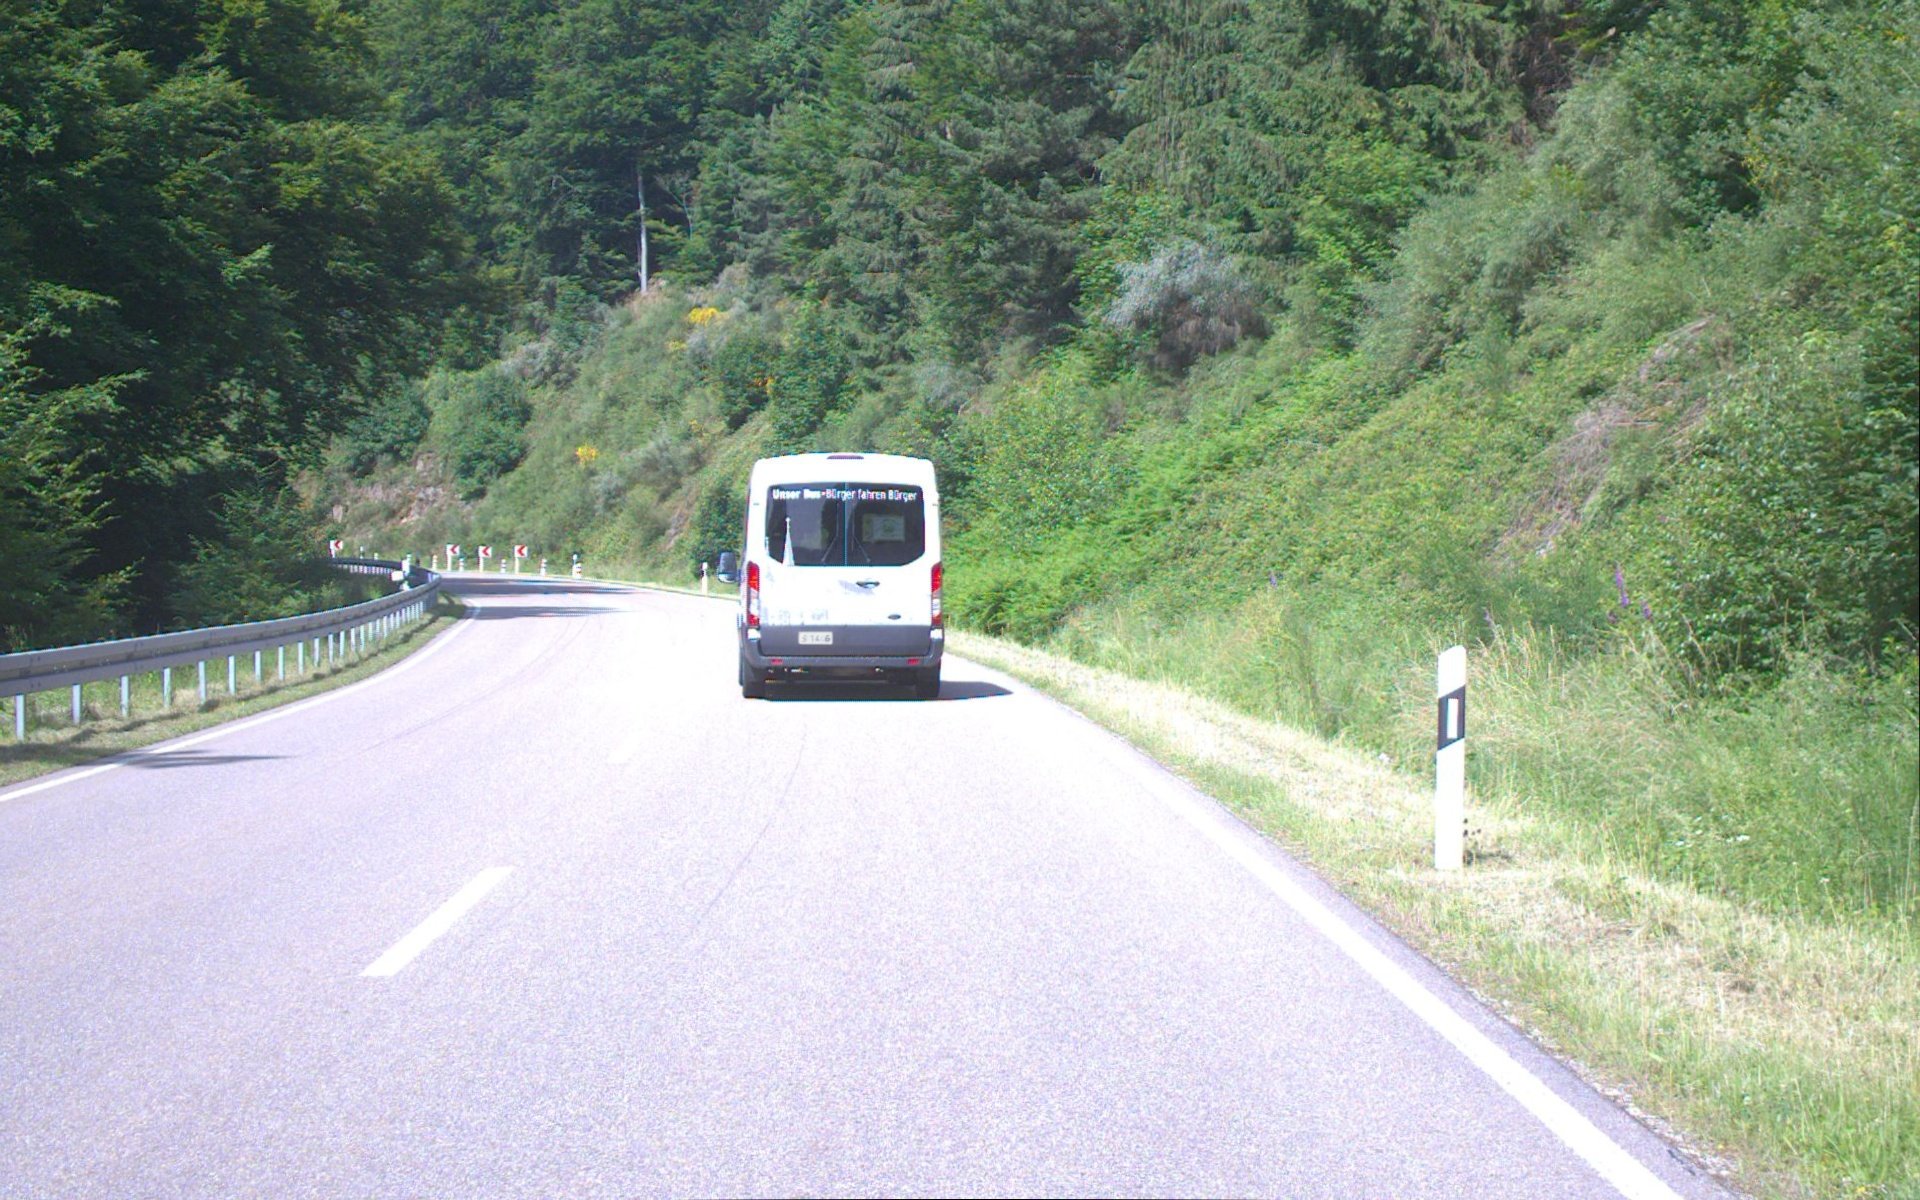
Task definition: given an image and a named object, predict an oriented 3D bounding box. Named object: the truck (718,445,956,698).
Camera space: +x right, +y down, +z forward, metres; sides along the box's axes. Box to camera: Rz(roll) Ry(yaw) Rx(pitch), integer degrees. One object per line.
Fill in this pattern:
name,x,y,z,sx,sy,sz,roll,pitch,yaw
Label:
truck,-1.366,-0.320,35.939,2.083,2.451,4.876,0,1,-7
